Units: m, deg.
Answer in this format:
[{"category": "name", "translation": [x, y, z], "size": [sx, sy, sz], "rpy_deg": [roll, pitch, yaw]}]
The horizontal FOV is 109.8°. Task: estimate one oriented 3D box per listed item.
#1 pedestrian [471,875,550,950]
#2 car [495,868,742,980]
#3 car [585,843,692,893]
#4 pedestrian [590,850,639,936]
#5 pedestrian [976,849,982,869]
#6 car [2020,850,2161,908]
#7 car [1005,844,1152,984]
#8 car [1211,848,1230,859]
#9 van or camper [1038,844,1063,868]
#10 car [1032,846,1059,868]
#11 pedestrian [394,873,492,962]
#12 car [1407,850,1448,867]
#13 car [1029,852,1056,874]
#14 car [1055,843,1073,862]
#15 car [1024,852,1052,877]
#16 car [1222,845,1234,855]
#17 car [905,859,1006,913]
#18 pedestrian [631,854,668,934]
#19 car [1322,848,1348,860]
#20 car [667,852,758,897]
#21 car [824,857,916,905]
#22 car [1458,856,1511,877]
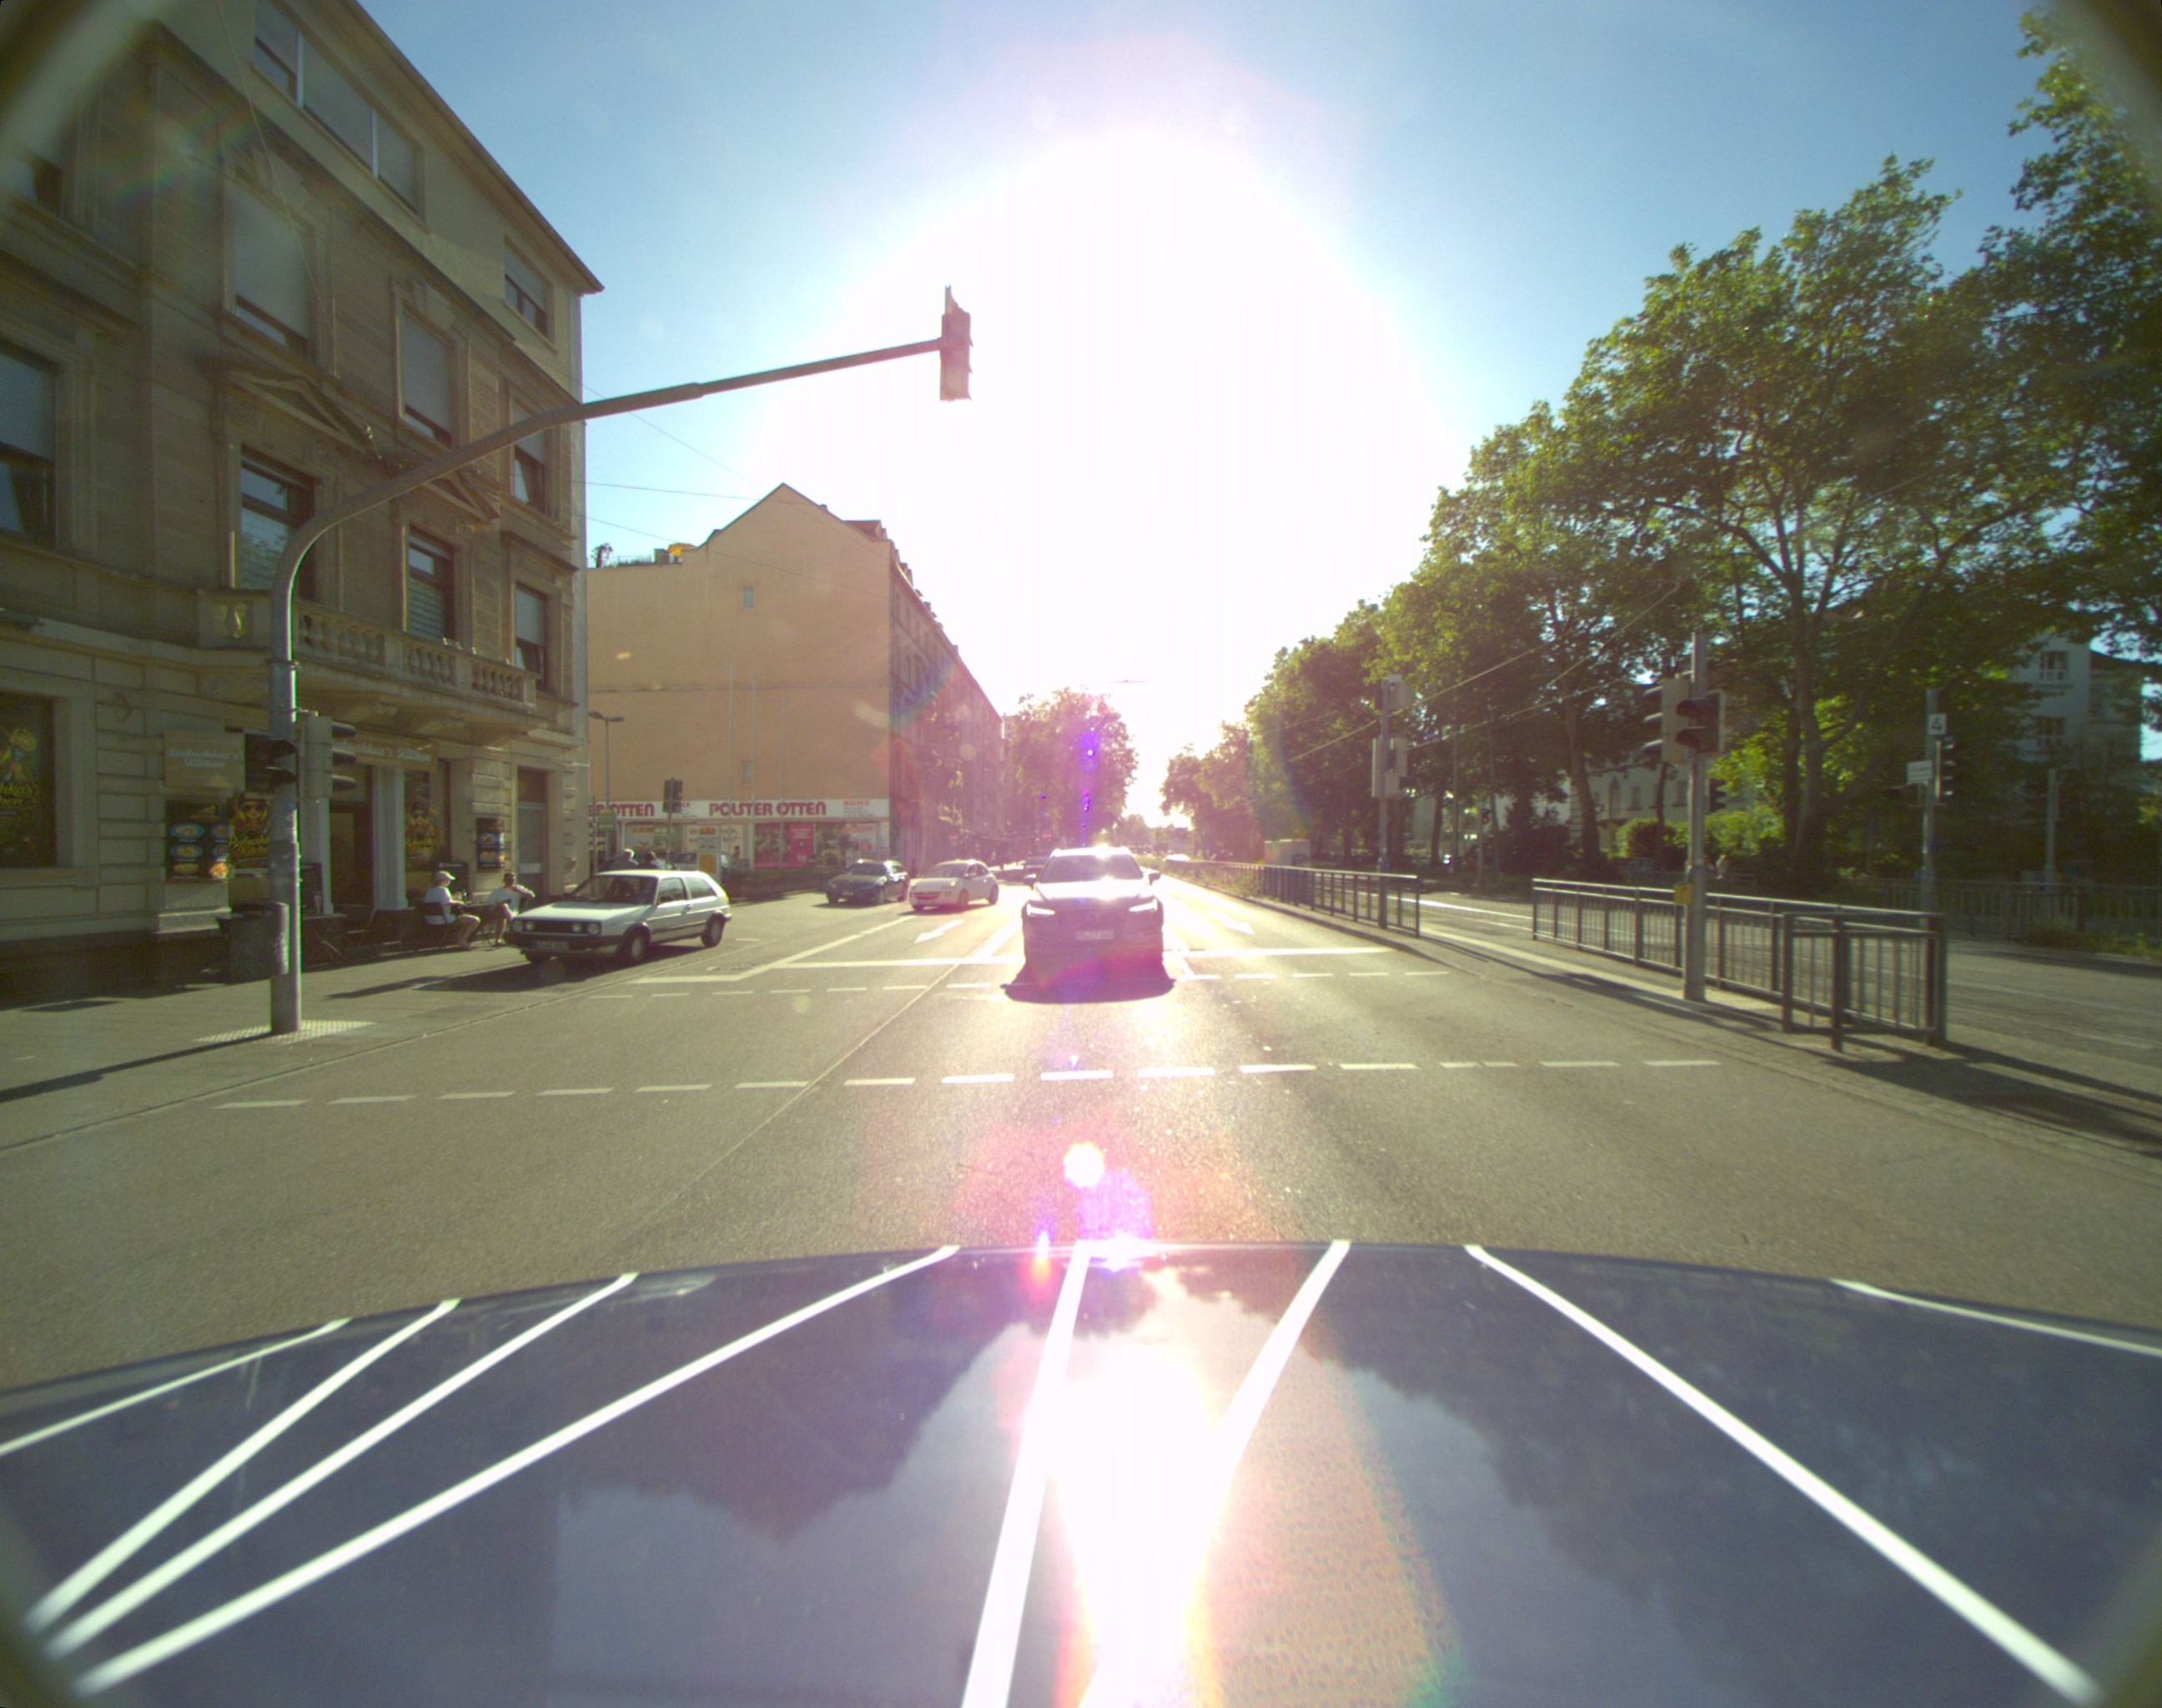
[{"category": "pedestrian", "translation": [-10.293, 1.045, 13.725], "size": [0.903, 1.274, 0.655], "rpy_deg": [2, 1, -3]}, {"category": "car", "translation": [-7.468, 1.031, 12.795], "size": [1.566, 1.407, 4.004], "rpy_deg": [3, 1, 2]}, {"category": "car", "translation": [-14.259, 0.412, 24.683], "size": [1.562, 1.477, 3.394], "rpy_deg": [-1, 0, -2]}, {"category": "pedestrian", "translation": [-10.011, 0.826, 16.309], "size": [0.674, 1.796, 0.530], "rpy_deg": [2, 1, 1]}, {"category": "pedestrian", "translation": [-9.183, 0.473, 68.444], "size": [0.469, 1.822, 0.516], "rpy_deg": [0, 1, 2]}, {"category": "car", "translation": [29.148, 0.651, 20.841], "size": [1.673, 1.501, 4.144], "rpy_deg": [0, 1, 0]}, {"category": "car", "translation": [0.063, 0.761, 12.110], "size": [1.876, 1.788, 4.633], "rpy_deg": [-1, 0, 2]}, {"category": "car", "translation": [19.224, -0.031, 105.042], "size": [1.688, 1.490, 4.342], "rpy_deg": [-1, 0, -1]}, {"category": "van or camper", "translation": [-2.685, 0.159, 67.782], "size": [1.888, 2.002, 5.094], "rpy_deg": [0, 1, 1]}, {"category": "car", "translation": [-2.877, 0.227, 62.259], "size": [1.868, 1.753, 4.000], "rpy_deg": [0, 1, 2]}, {"category": "pedestrian", "translation": [-10.292, 1.008, 12.281], "size": [1.017, 1.364, 0.655], "rpy_deg": [1, 1, -4]}, {"category": "car", "translation": [29.837, 0.378, 65.529], "size": [1.644, 1.316, 4.461], "rpy_deg": [2, 1, 2]}, {"category": "car", "translation": [-2.871, 0.642, 57.035], "size": [1.743, 1.509, 3.999], "rpy_deg": [-3, 1, 0]}, {"category": "car", "translation": [-2.223, -0.256, 101.170], "size": [2.078, 2.420, 5.856], "rpy_deg": [-1, 1, 2]}, {"category": "car", "translation": [-2.921, 0.703, 52.585], "size": [1.644, 1.509, 3.999], "rpy_deg": [-3, 1, 0]}, {"category": "car", "translation": [30.954, -0.864, 159.767], "size": [1.998, 2.002, 4.002], "rpy_deg": [-3, 0, 6]}, {"category": "car", "translation": [-3.928, 0.980, 24.449], "size": [1.605, 1.446, 3.785], "rpy_deg": [-2, 1, 17]}, {"category": "pedestrian", "translation": [-9.318, 0.860, 16.402], "size": [0.551, 1.698, 0.388], "rpy_deg": [0, 1, 4]}, {"category": "car", "translation": [30.284, -0.019, 90.744], "size": [1.801, 1.464, 4.000], "rpy_deg": [-1, 0, 2]}, {"category": "car", "translation": [-14.405, 0.754, 29.964], "size": [1.749, 1.635, 3.999], "rpy_deg": [0, 1, -2]}, {"category": "car", "translation": [-7.561, 0.910, 27.777], "size": [1.837, 1.478, 4.734], "rpy_deg": [2, 1, 2]}, {"category": "car", "translation": [29.542, 0.922, 55.776], "size": [1.739, 1.432, 4.319], "rpy_deg": [0, 1, 2]}]
